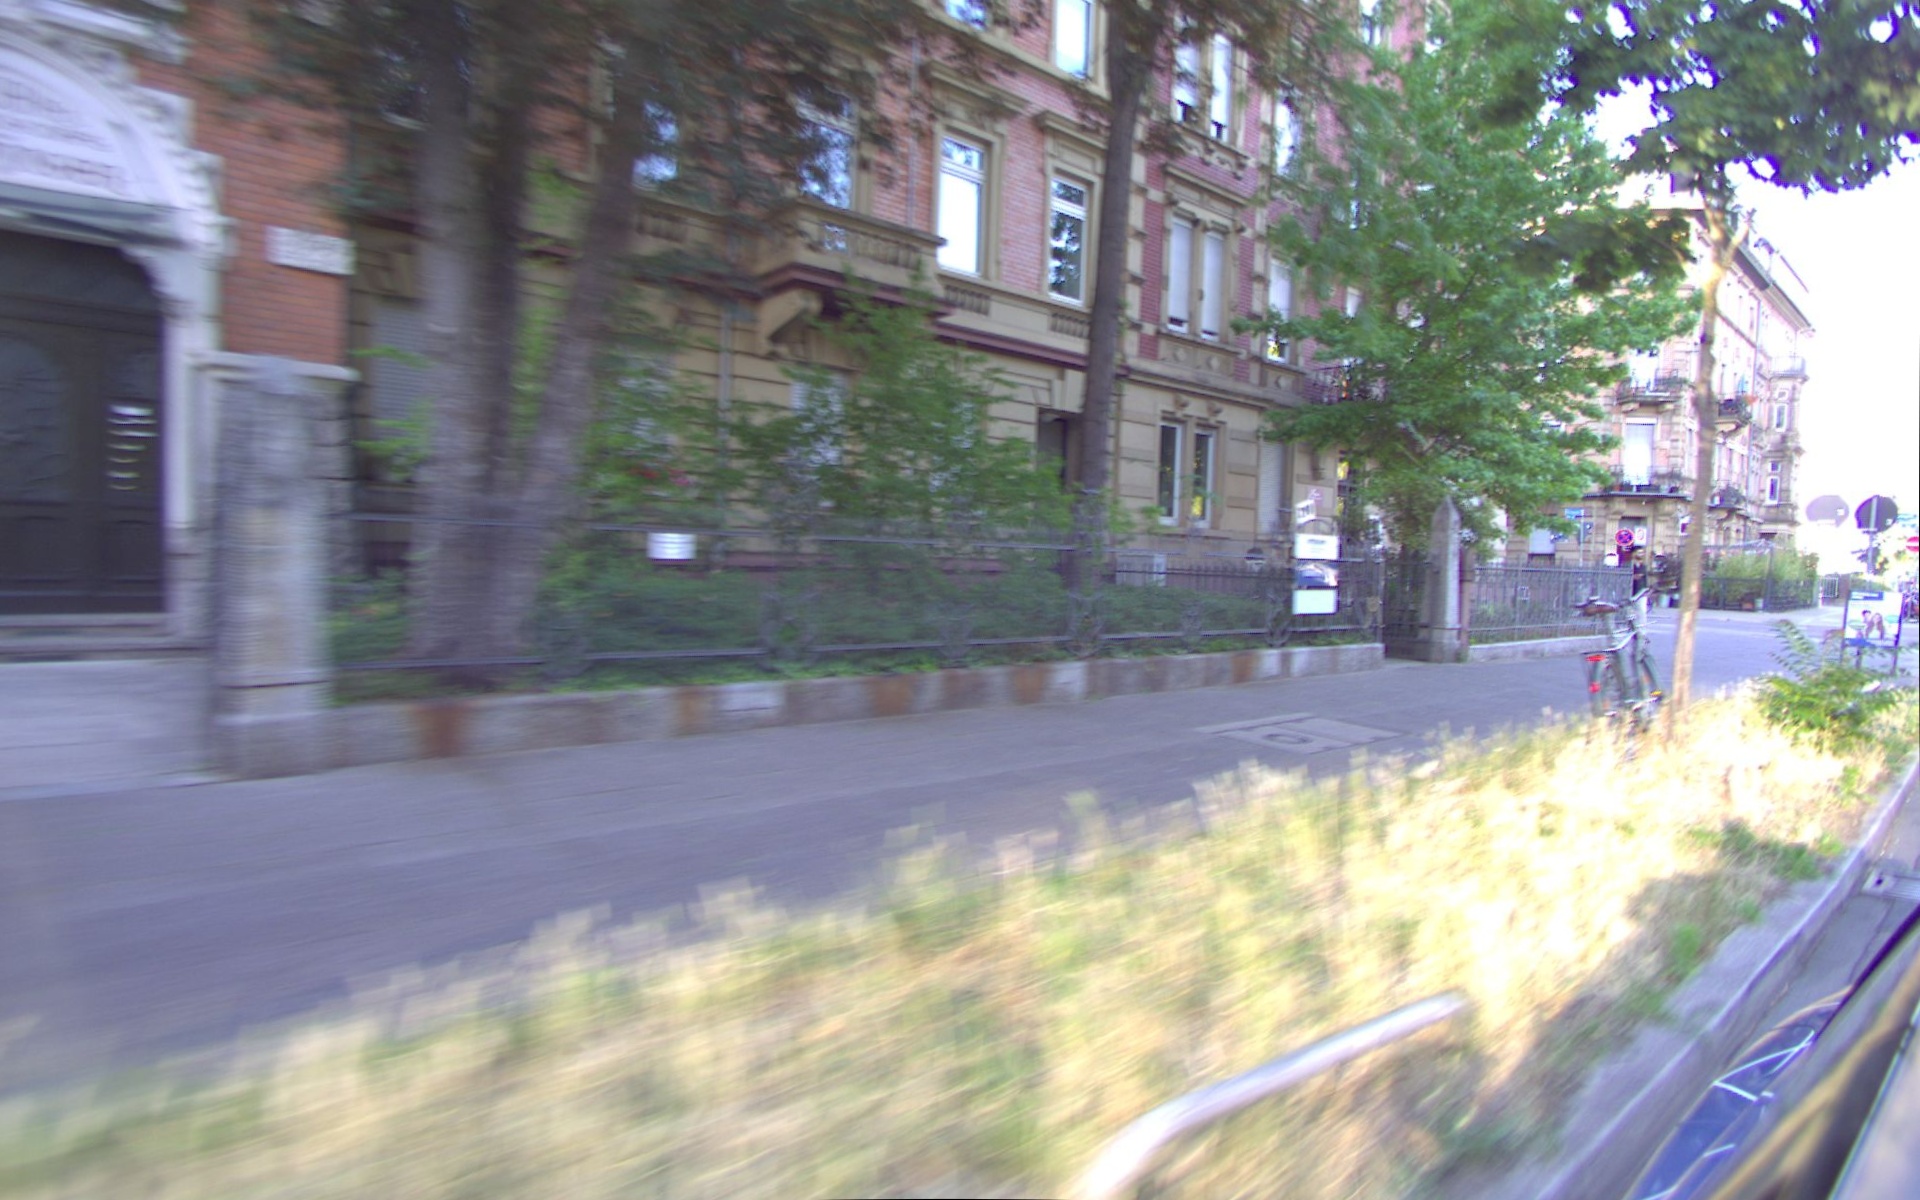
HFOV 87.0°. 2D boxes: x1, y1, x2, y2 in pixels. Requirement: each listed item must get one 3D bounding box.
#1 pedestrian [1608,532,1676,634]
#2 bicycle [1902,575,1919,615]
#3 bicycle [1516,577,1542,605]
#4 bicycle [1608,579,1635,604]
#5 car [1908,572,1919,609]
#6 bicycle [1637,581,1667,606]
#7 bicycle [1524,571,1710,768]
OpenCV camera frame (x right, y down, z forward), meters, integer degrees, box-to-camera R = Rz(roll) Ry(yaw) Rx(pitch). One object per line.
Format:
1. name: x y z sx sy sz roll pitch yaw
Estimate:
1. pedestrian: 12.746 -0.340 18.950 0.740 1.799 0.825 6 5 24
2. bicycle: 33.986 -0.174 35.919 2.228 1.289 0.566 -3 9 -44
3. bicycle: 18.116 -0.282 32.208 1.472 0.827 0.291 3 -1 -44
4. bicycle: 24.344 -0.317 37.262 1.469 0.827 0.295 -3 3 -35
5. car: 41.261 -0.342 42.524 3.487 1.482 1.730 -1 7 -43
6. bicycle: 24.832 -0.240 36.305 1.702 0.827 0.295 -3 3 -35
7. bicycle: 4.586 0.402 7.006 1.899 1.181 0.647 -1 2 -44
